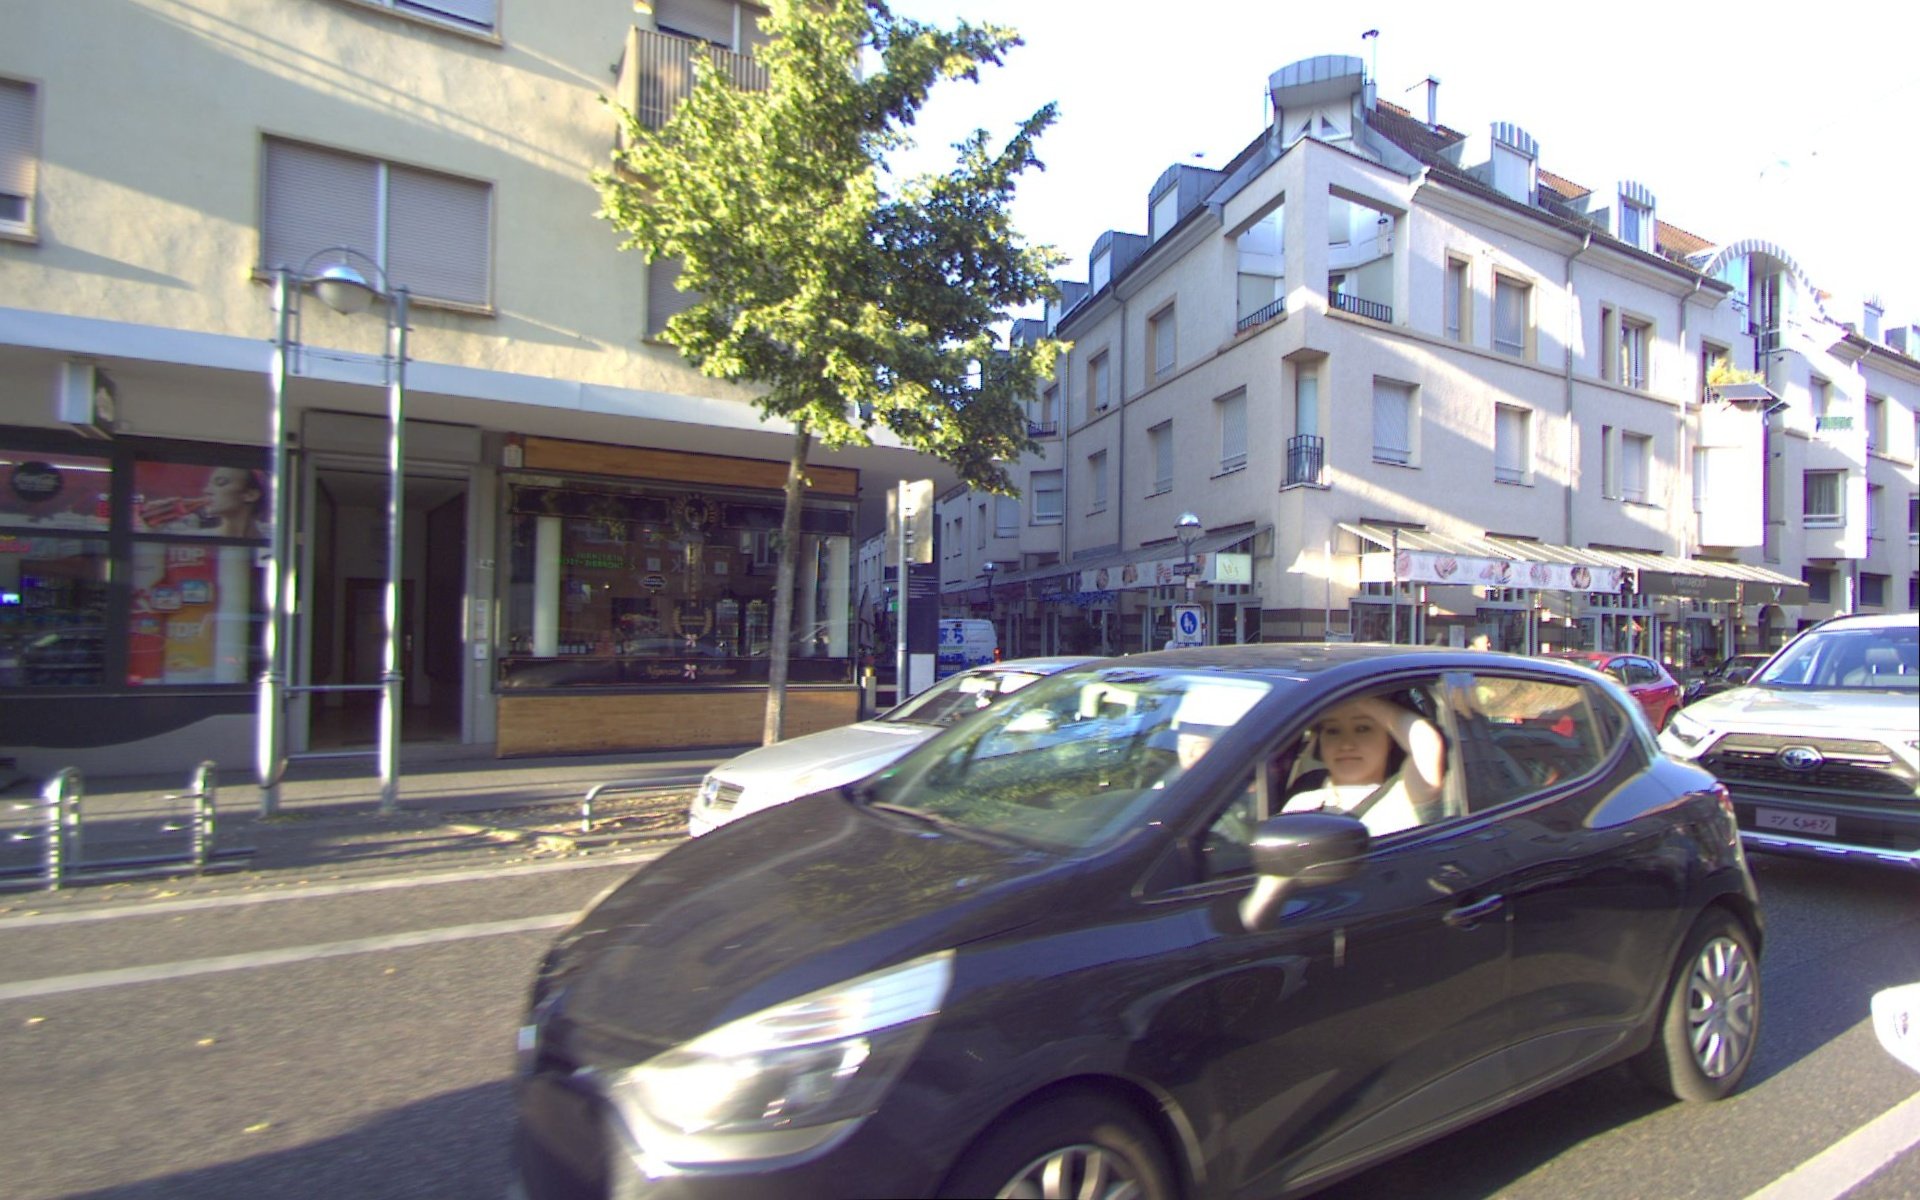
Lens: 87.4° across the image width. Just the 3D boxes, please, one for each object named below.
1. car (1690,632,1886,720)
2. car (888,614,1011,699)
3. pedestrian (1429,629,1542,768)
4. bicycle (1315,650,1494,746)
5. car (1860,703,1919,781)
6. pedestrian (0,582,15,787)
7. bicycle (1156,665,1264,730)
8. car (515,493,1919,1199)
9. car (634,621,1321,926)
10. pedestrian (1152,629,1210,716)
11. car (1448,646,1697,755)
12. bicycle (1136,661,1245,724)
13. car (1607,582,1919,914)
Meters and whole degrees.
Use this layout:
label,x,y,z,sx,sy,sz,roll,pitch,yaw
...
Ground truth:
label,x,y,z,sx,sy,sz,roll,pitch,yaw
car,15.793,1.415,19.136,3.681,1.473,1.703,3,-1,-30
car,-0.389,1.319,25.123,1.966,1.852,4.867,2,-1,-14
pedestrian,6.830,1.252,13.112,0.973,1.698,0.907,-2,0,1
bicycle,6.931,1.477,15.571,3.093,1.317,0.953,3,-1,-32
car,22.417,3.255,23.123,3.155,1.555,1.782,2,-2,-33
pedestrian,-8.951,0.752,8.775,0.803,1.843,0.738,1,-2,-28
bicycle,4.185,1.602,16.728,1.994,1.005,0.487,3,-1,-32
car,1.110,0.761,3.146,4.412,1.569,1.716,3,-3,-30
car,0.212,1.022,7.079,4.457,1.531,1.985,3,-5,-30
pedestrian,4.434,1.445,20.233,0.767,1.698,0.904,2,-1,-16
car,9.445,1.481,15.431,3.839,1.421,1.652,3,-1,-31
bicycle,3.970,1.579,17.237,1.991,1.005,0.487,2,-1,-29
car,6.561,0.854,6.723,4.686,1.666,1.931,3,-3,-32
